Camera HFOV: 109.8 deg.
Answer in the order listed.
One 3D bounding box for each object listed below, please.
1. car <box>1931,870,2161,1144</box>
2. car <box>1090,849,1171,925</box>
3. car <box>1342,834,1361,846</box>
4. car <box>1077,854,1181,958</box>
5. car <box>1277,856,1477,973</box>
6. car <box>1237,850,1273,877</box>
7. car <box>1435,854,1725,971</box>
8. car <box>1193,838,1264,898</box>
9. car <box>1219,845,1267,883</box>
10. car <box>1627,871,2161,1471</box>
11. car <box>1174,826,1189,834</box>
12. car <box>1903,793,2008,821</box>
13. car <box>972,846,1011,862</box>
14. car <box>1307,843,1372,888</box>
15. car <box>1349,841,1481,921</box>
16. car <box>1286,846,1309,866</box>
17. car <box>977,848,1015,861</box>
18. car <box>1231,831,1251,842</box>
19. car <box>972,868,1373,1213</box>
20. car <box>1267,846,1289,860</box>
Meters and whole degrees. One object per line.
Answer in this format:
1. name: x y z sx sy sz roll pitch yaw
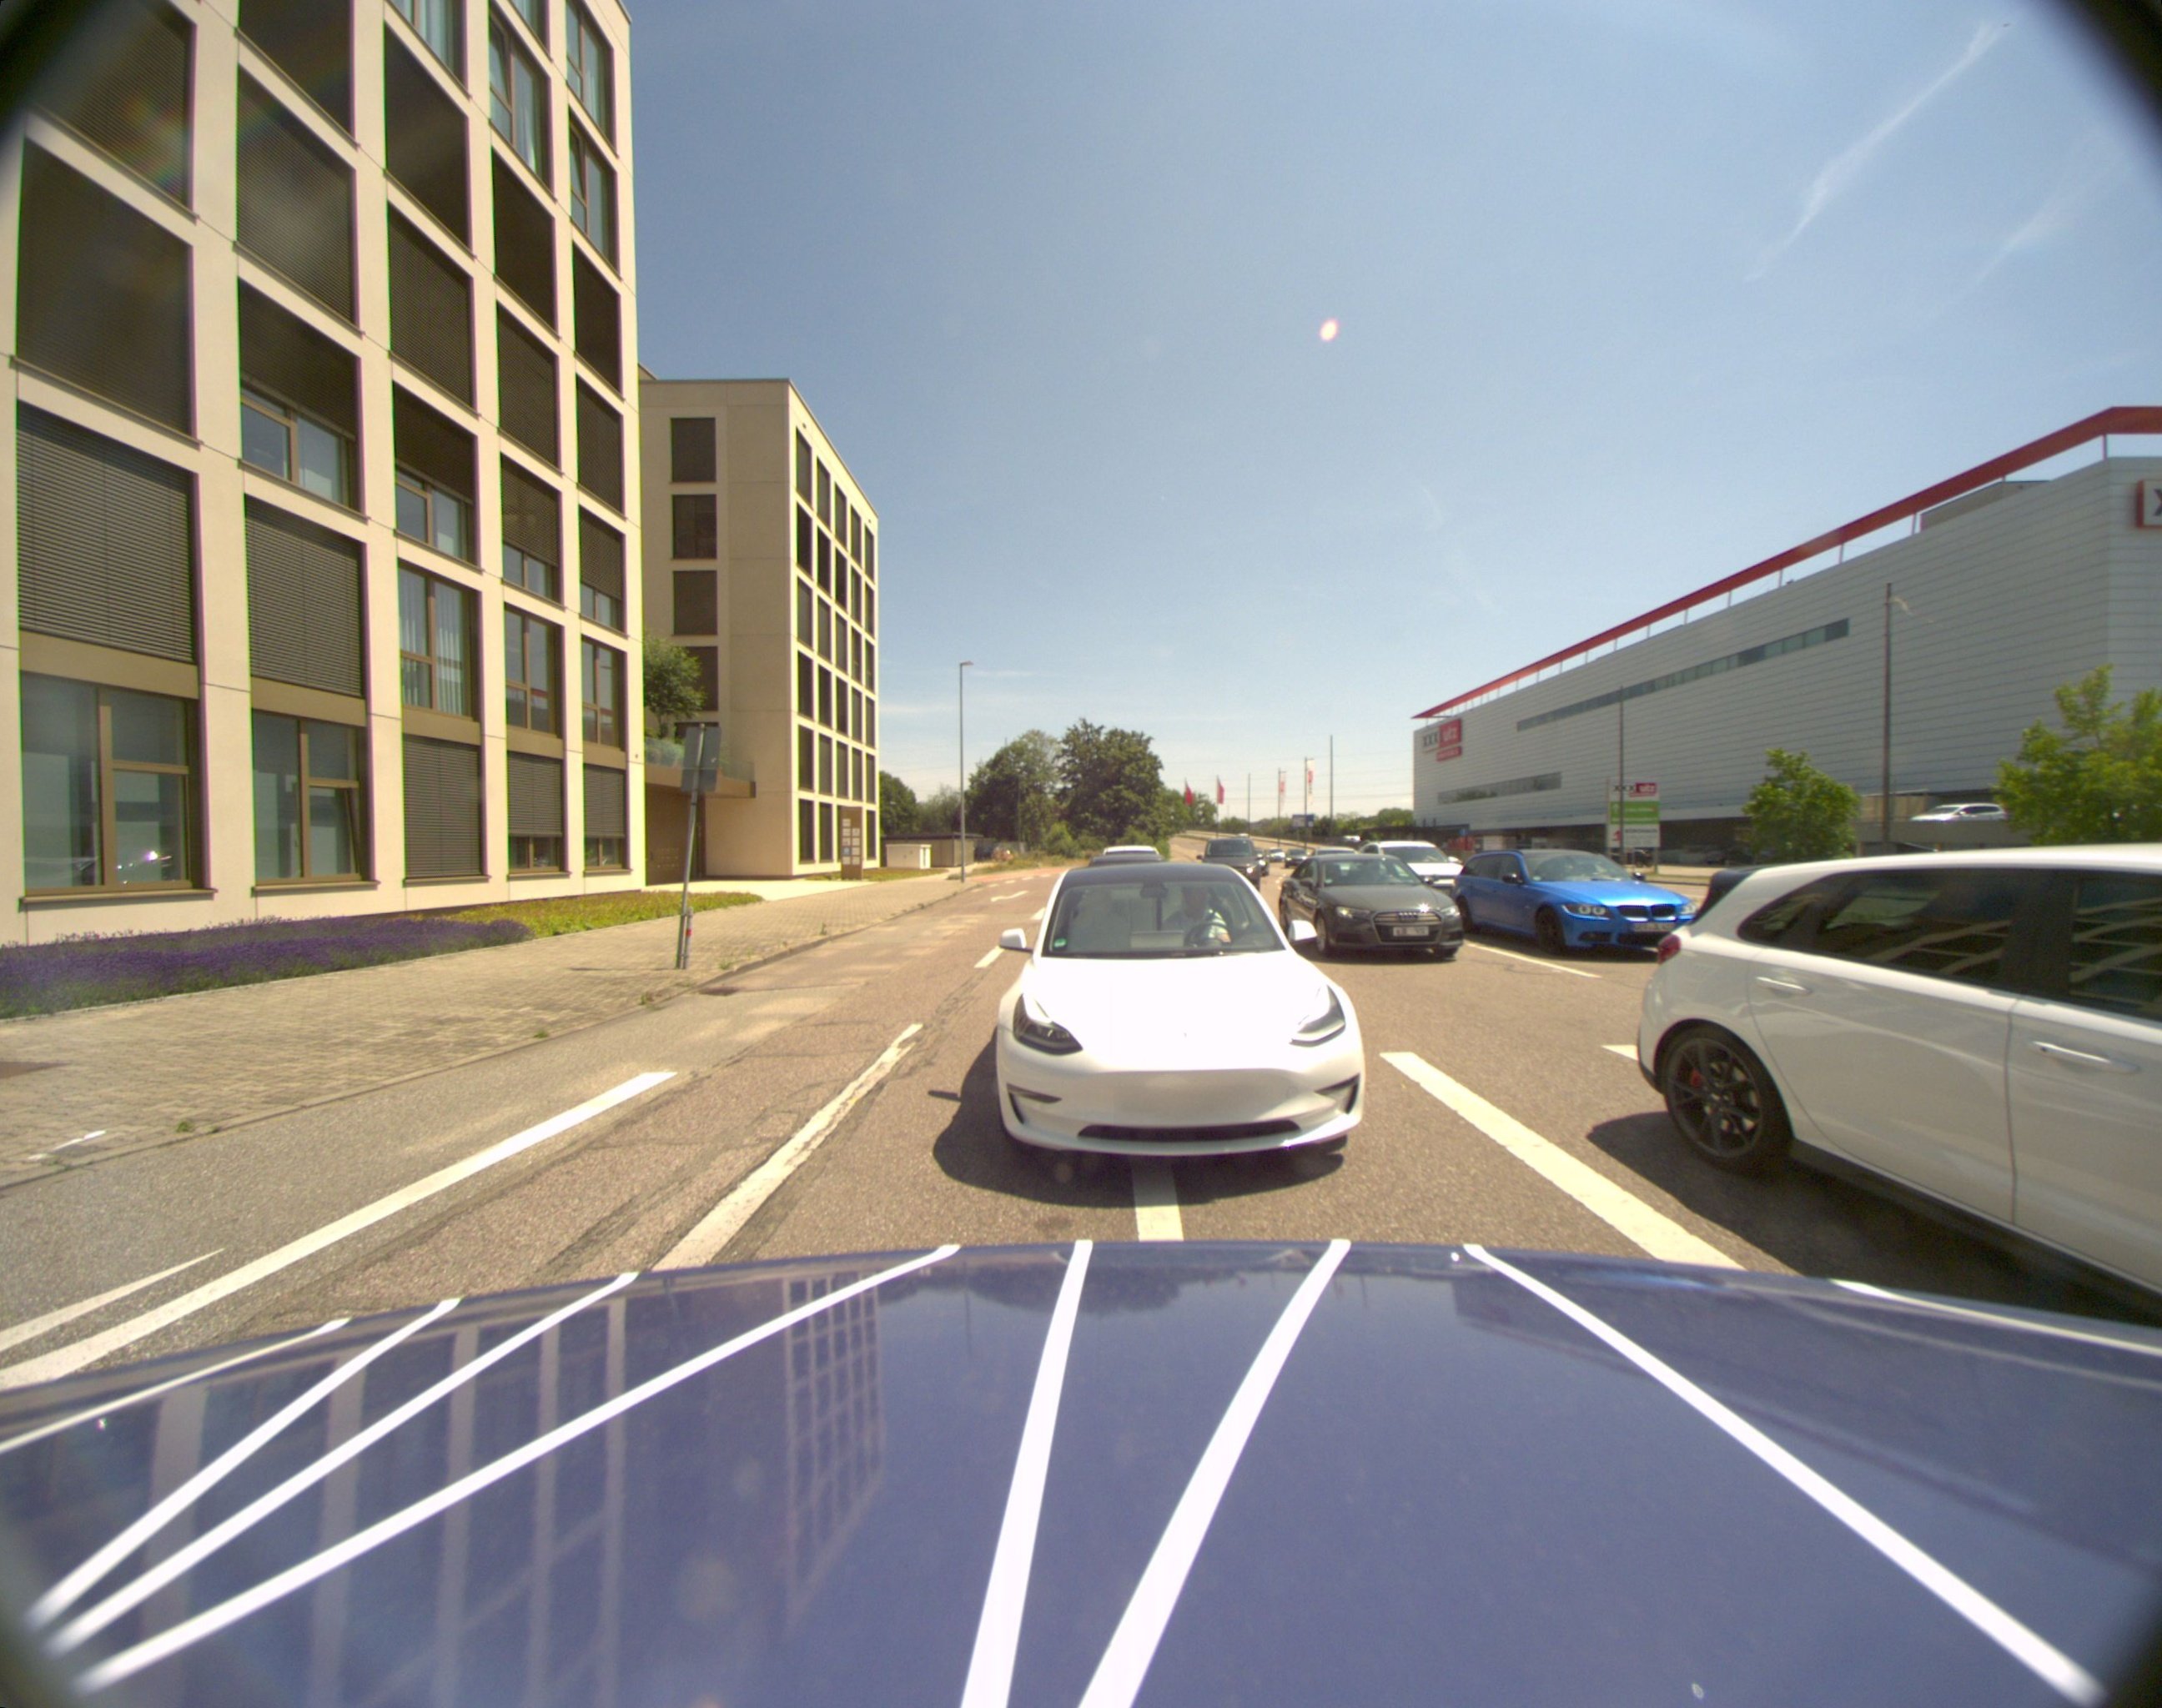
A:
1. car: 6.550 0.820 2.903 1.675 1.396 4.467 -2 0 2
2. car: 1.239 0.704 18.532 1.777 1.600 3.821 0 1 5
3. car: 52.008 -2.655 146.207 2.191 2.270 4.814 0 1 4
4. car: 0.876 0.791 13.396 1.556 1.528 3.822 0 1 5
5. car: 4.181 0.764 11.433 1.768 1.374 4.091 -1 0 6
6. car: 9.962 0.494 43.412 1.606 1.431 3.738 0 1 19
7. car: 7.206 0.735 11.632 1.769 1.395 4.432 -2 0 5
8. car: 4.980 0.408 26.220 1.895 1.811 4.838 -1 1 5
9. car: 7.555 0.425 35.199 1.811 1.630 4.005 0 1 18
10. car: 3.651 0.846 1.813 1.792 1.428 4.070 -2 1 1
11. car: 21.572 -5.137 163.434 1.869 1.713 4.037 0 0 -15
12. car: 51.656 -2.768 44.935 3.996 1.499 1.718 0 1 4
13. car: -9.296 -0.016 79.143 3.834 1.543 1.736 0 1 -13
14. car: 8.955 0.362 26.603 1.767 1.414 3.903 -2 0 14
15. car: 7.780 0.552 18.152 1.768 1.632 4.494 -2 1 9
16. car: 17.581 0.122 61.670 1.724 1.543 4.005 0 1 16
17. car: -9.132 0.029 81.208 3.834 1.386 1.736 0 1 -13
18. car: 26.386 -2.935 125.239 1.868 1.713 4.039 0 1 -9
19. car: 0.459 0.919 5.697 1.823 1.428 4.284 -2 1 1
20. car: 21.466 -0.102 82.931 1.725 1.463 4.001 0 1 4
